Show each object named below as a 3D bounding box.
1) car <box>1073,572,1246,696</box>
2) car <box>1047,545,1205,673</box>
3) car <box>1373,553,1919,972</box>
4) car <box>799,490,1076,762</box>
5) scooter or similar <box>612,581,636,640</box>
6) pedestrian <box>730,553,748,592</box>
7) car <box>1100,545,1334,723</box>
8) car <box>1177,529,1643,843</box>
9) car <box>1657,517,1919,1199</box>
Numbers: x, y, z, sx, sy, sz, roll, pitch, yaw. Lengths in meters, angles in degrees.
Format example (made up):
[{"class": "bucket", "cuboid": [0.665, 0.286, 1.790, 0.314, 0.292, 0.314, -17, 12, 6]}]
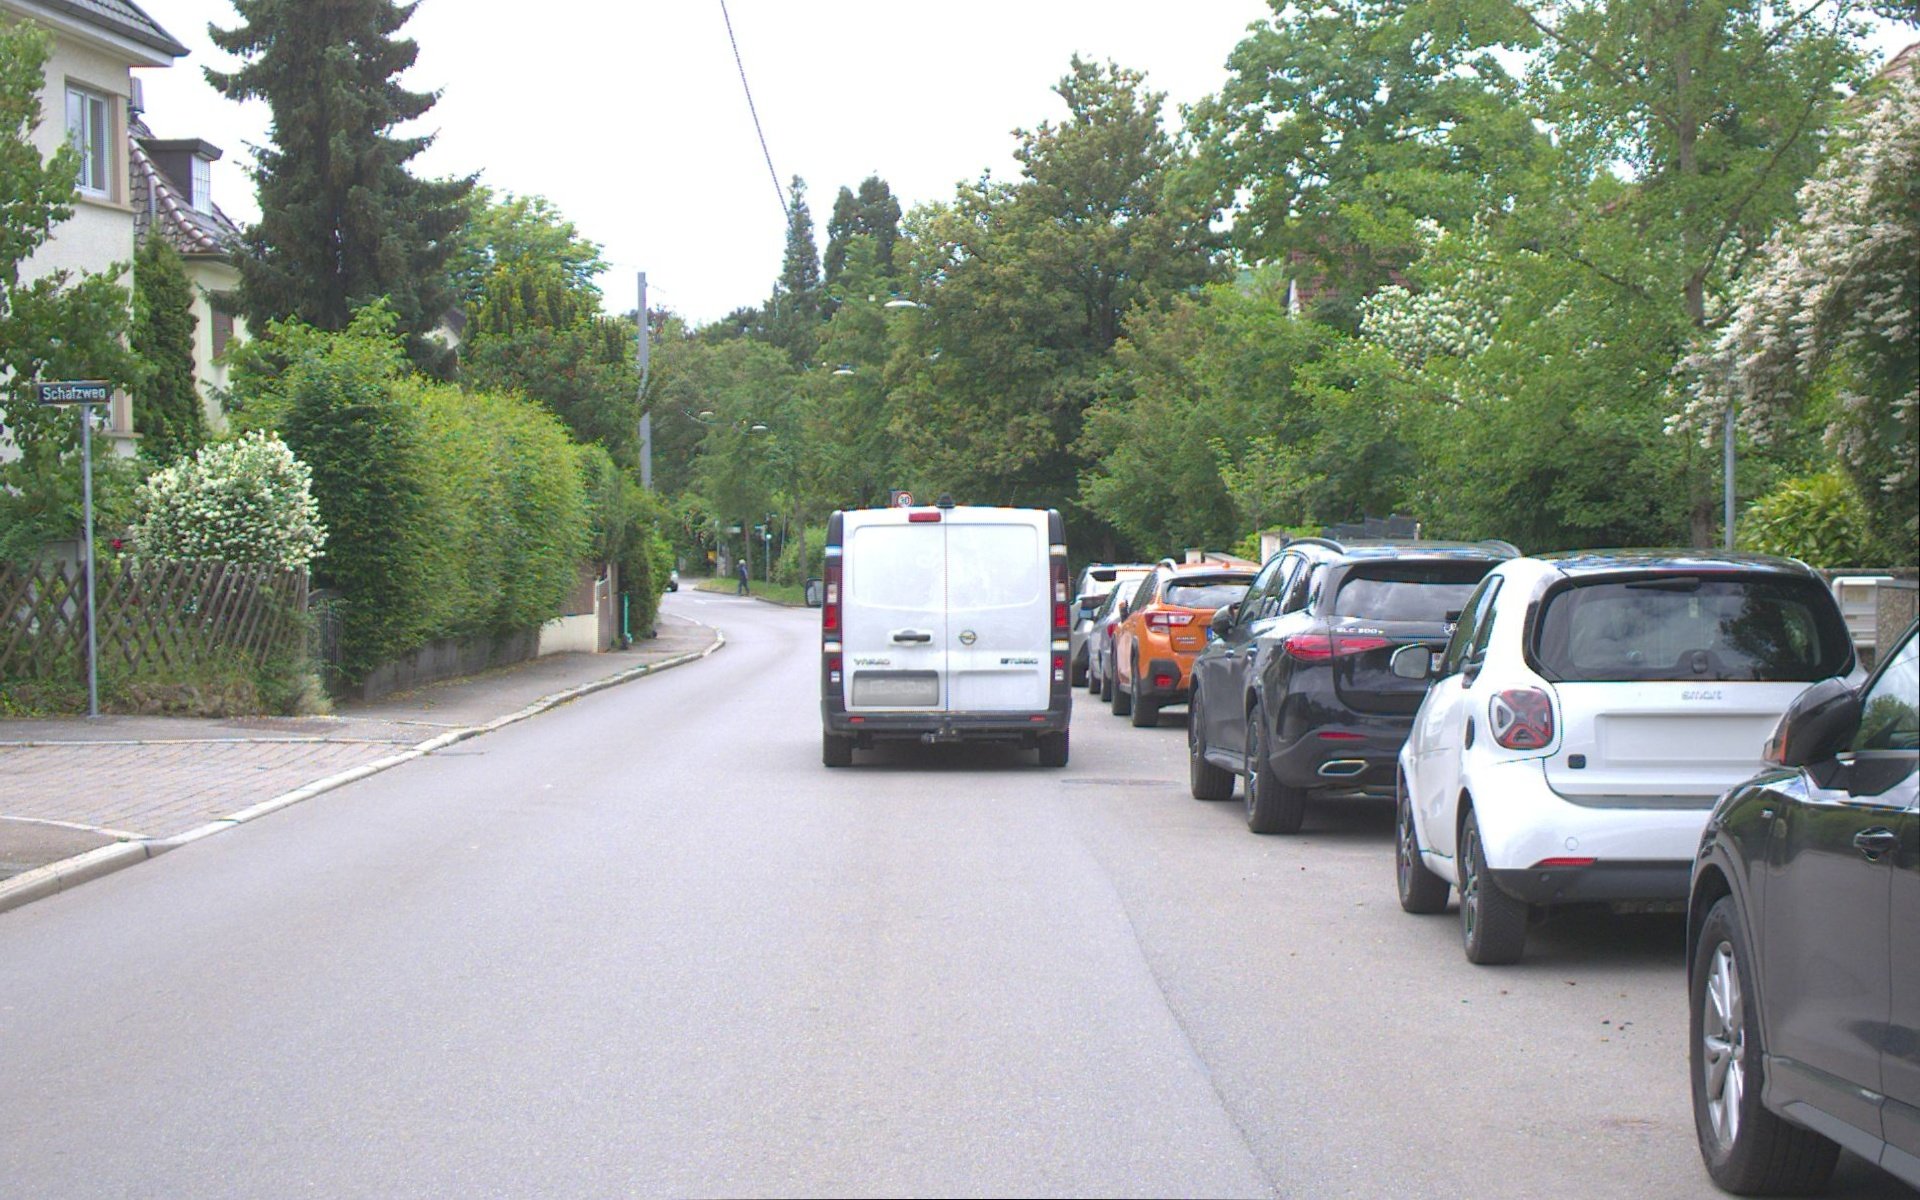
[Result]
[{"class": "car", "cuboid": [2.290, 0.369, 40.391, 1.716, 1.377, 4.236, 0, 0, -1]}, {"class": "car", "cuboid": [2.159, 0.103, 45.837, 1.829, 1.618, 4.492, 0, 0, -1]}, {"class": "car", "cuboid": [2.655, 0.574, 13.884, 1.598, 1.505, 3.013, 0, 0, 0]}, {"class": "car", "cuboid": [-0.263, 0.149, 27.032, 1.929, 1.957, 4.402, 0, 1, -3]}, {"class": "scooter or similar", "cuboid": [-6.710, 0.205, 68.716, 0.391, 1.167, 1.270, 0, 0, -2]}, {"class": "pedestrian", "cuboid": [-9.344, -1.158, 145.486, 0.697, 1.610, 0.715, 0, 3, -7]}, {"class": "car", "cuboid": [2.479, 0.309, 34.061, 1.850, 1.621, 4.170, 1, 0, -2]}, {"class": "car", "cuboid": [2.514, 0.447, 20.318, 1.950, 1.621, 4.377, 1, 0, -3]}, {"class": "car", "cuboid": [2.640, 0.637, 6.618, 1.801, 1.586, 4.141, 0, 1, 1]}]
